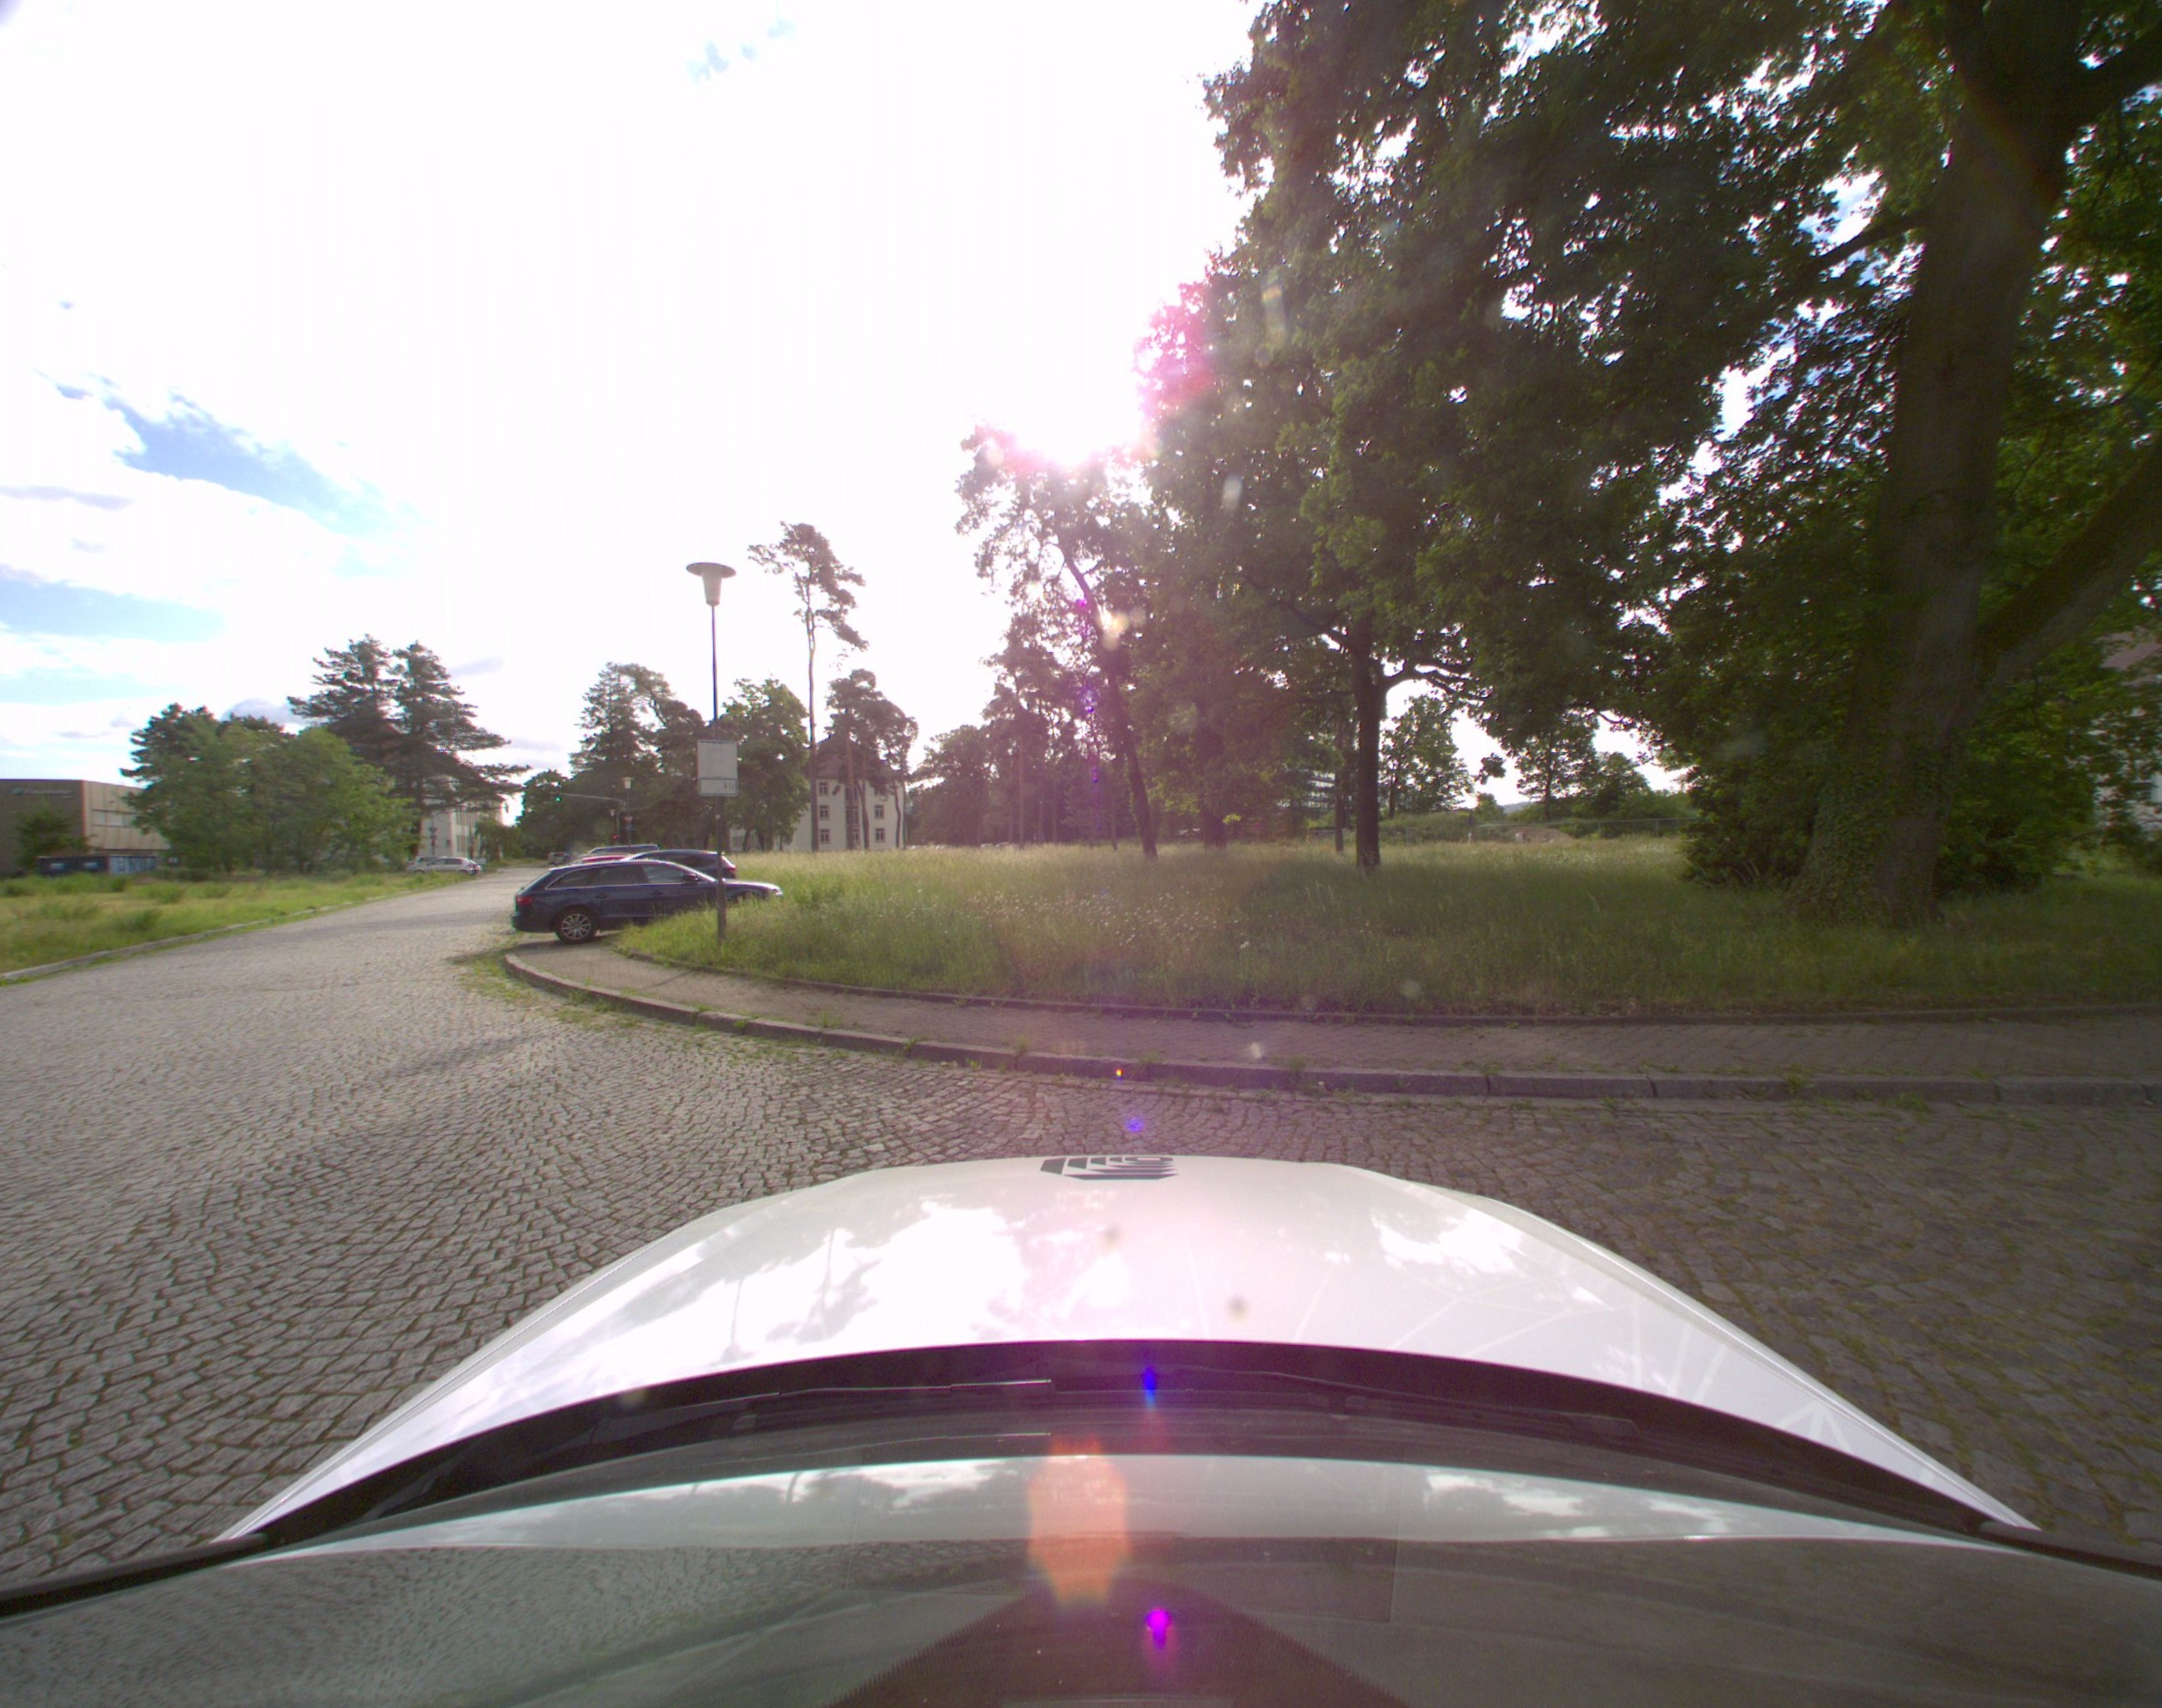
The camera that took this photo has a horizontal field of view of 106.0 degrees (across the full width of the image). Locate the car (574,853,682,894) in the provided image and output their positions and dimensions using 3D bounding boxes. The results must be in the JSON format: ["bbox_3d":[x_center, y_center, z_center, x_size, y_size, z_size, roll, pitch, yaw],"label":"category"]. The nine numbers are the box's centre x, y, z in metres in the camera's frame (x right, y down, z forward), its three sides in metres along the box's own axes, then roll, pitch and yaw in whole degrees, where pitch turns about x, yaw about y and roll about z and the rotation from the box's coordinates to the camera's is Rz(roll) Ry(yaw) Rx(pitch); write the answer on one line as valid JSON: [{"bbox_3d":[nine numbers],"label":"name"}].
[{"bbox_3d":[-19.582,0.808,35.261,3.967,1.520,1.690,-3,1,-31],"label":"car"}]

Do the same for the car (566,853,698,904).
[{"bbox_3d":[-15.762,0.810,28.662,3.911,1.478,1.655,-3,1,-32],"label":"car"}]

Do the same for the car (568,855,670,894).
[{"bbox_3d":[-21.135,0.892,37.281,3.934,1.603,1.802,-2,1,-34],"label":"car"}]

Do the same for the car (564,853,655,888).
[{"bbox_3d":[-24.545,0.825,42.420,3.948,1.392,1.725,-6,4,-33],"label":"car"}]

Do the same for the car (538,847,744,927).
[{"bbox_3d":[-10.583,0.711,19.732,4.167,1.572,1.772,-3,2,-33],"label":"car"}]

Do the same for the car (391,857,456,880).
[{"bbox_3d":[-50.288,1.084,62.319,3.751,1.437,1.608,-5,3,-39],"label":"car"}]

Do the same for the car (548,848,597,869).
[{"bbox_3d":[-74.953,0.619,120.101,5.827,2.561,2.739,-6,4,-37],"label":"car"}]

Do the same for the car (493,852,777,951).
[{"bbox_3d":[-8.277,0.795,15.493,4.457,1.479,1.667,-3,1,-28],"label":"car"}]

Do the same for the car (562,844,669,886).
[{"bbox_3d":[-25.631,0.552,44.902,4.856,1.865,2.139,-6,4,-33],"label":"car"}]

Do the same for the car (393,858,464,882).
[{"bbox_3d":[-46.528,1.116,58.164,3.748,1.437,1.609,-5,3,-35],"label":"car"}]
